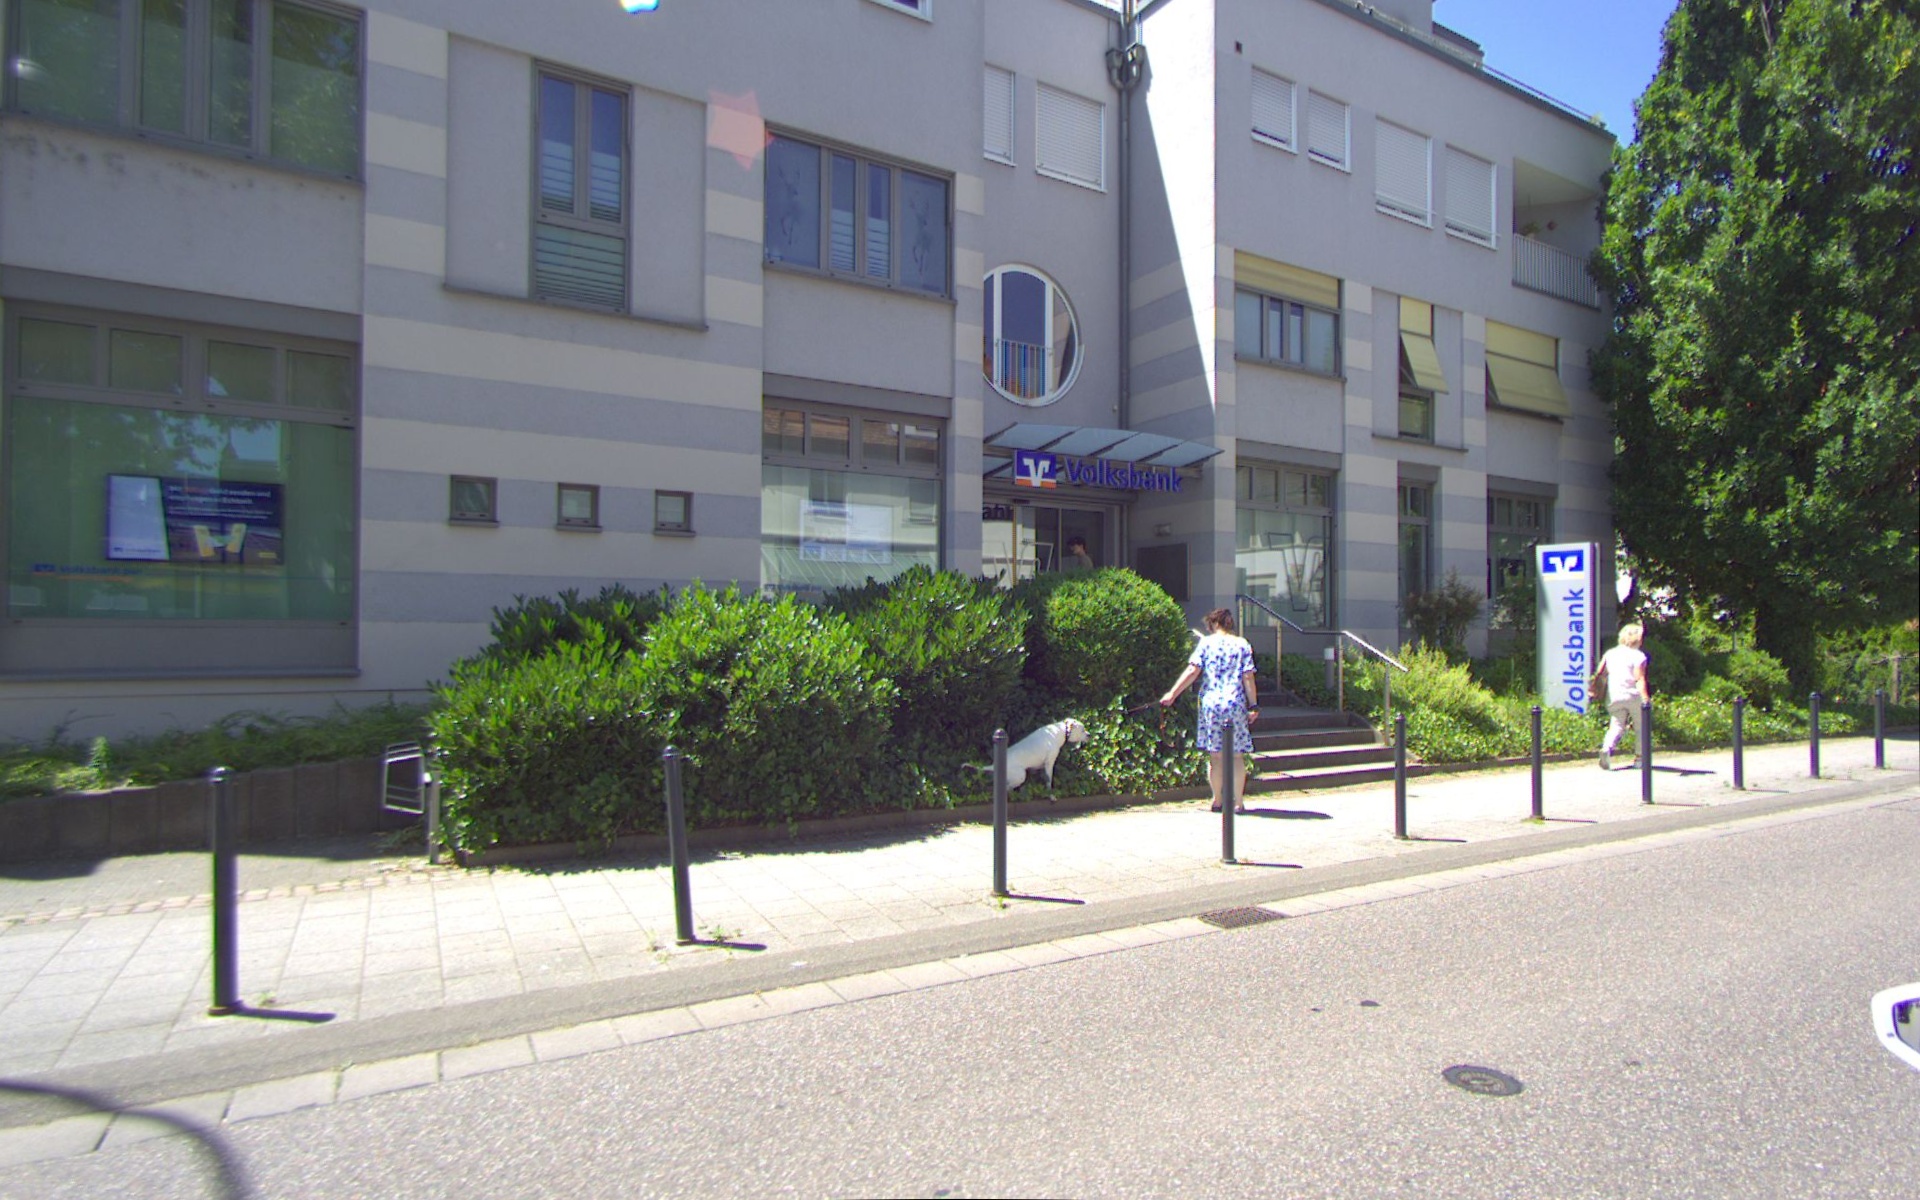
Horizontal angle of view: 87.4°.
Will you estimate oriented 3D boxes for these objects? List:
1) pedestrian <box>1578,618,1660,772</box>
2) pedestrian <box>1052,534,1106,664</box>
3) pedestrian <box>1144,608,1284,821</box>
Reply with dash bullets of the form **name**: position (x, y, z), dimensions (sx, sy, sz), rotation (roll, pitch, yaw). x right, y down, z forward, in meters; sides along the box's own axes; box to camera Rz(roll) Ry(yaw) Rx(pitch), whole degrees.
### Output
- **pedestrian**: position (7.583, 1.068, 11.557), dimensions (0.700, 1.707, 0.534), rotation (2, -1, -30)
- **pedestrian**: position (1.659, -0.001, 14.006), dimensions (0.570, 1.762, 0.611), rotation (0, -1, 25)
- **pedestrian**: position (2.119, 0.909, 8.398), dimensions (0.839, 1.666, 0.745), rotation (2, -1, -31)
